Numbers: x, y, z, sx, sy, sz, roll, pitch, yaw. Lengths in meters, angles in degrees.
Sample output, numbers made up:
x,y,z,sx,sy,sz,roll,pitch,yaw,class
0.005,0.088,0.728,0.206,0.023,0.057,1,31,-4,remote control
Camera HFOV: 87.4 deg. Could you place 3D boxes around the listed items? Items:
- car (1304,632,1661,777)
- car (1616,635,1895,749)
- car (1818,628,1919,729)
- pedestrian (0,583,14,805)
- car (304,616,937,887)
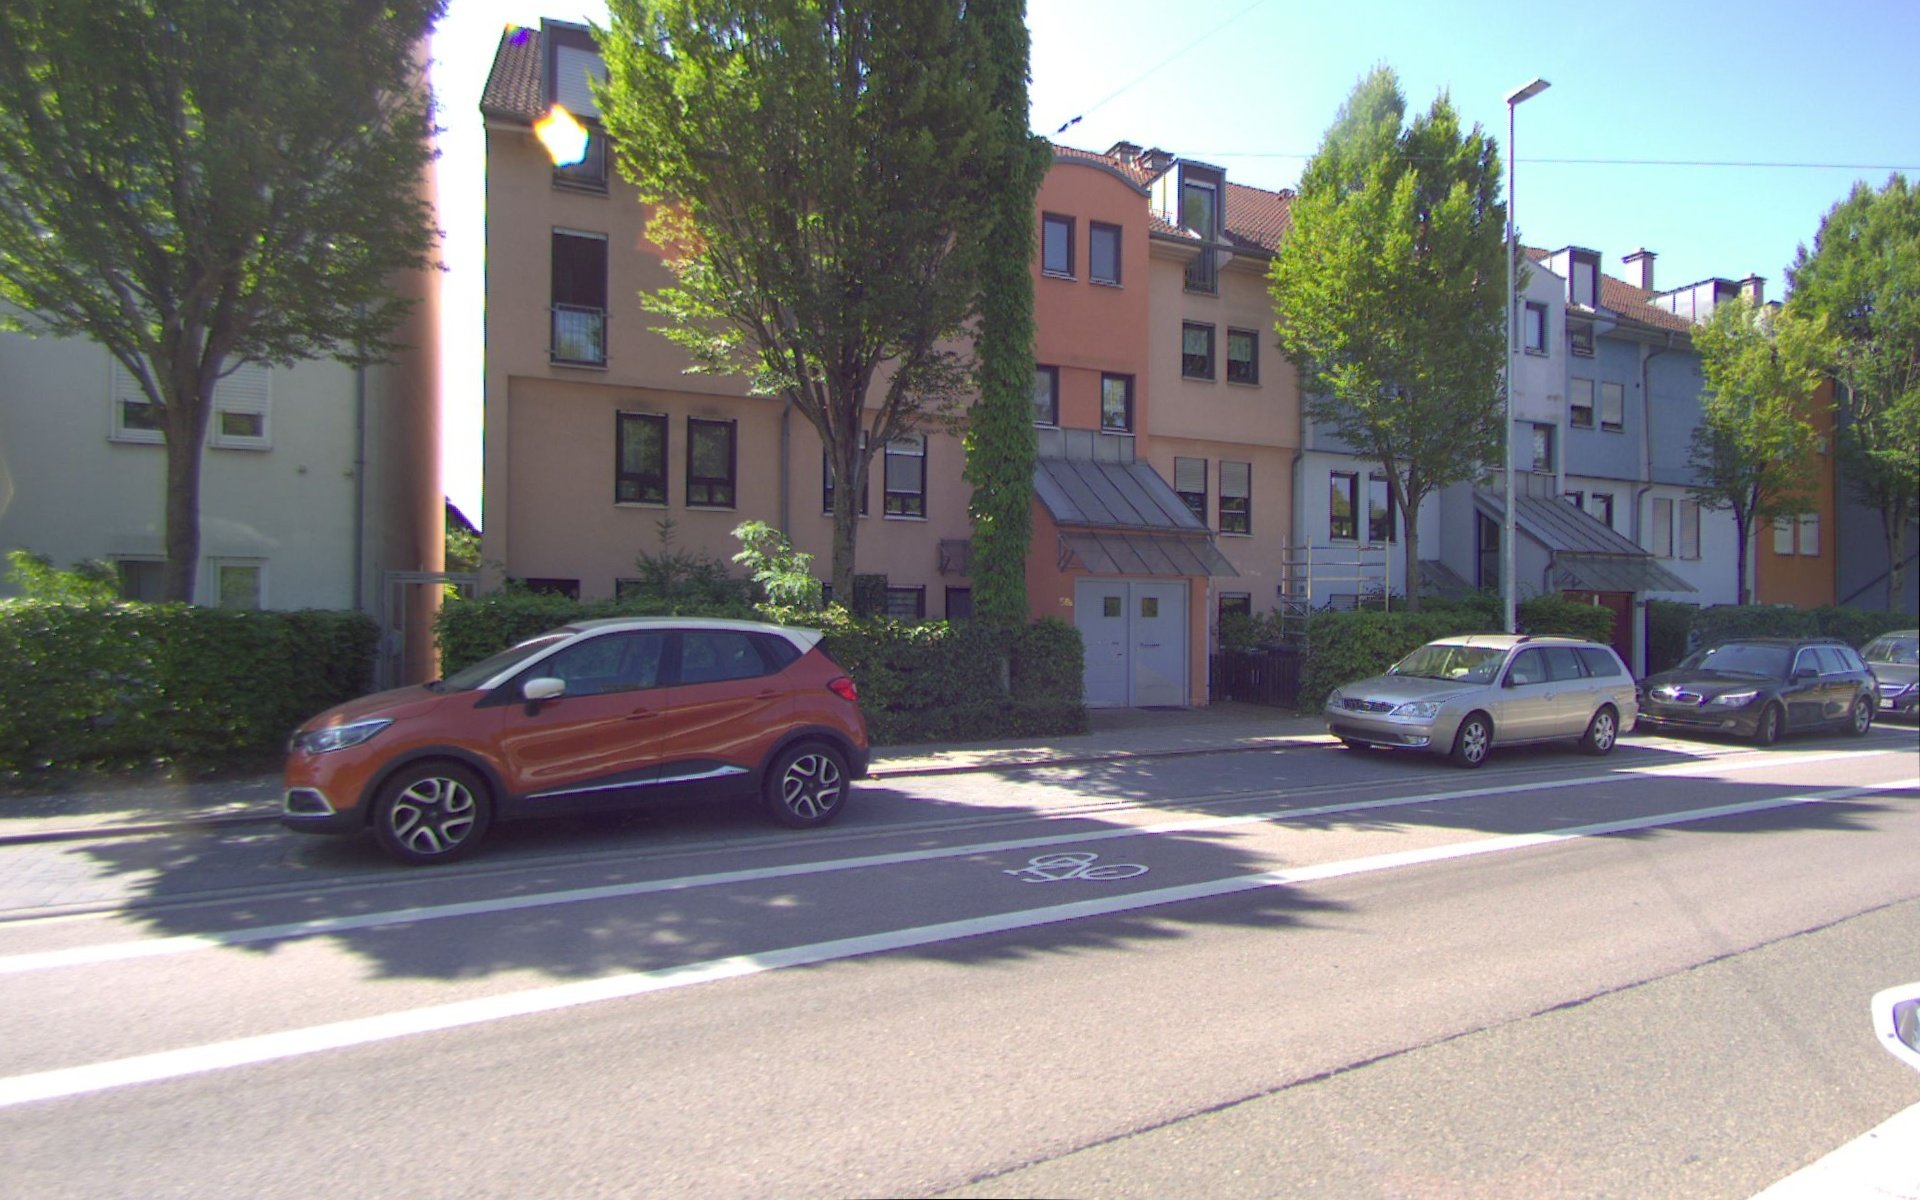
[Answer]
x,y,z,sx,sy,sz,roll,pitch,yaw,class
6.803,1.224,12.922,4.800,1.503,1.772,2,0,-30,car
12.465,1.335,15.683,4.656,1.494,1.715,1,0,-29,car
17.799,1.370,18.362,4.257,1.647,1.710,1,0,-27,car
-7.779,0.718,7.350,1.043,1.713,0.870,1,-1,-31,pedestrian
-2.458,0.943,7.782,4.268,1.572,1.722,1,0,-30,car
